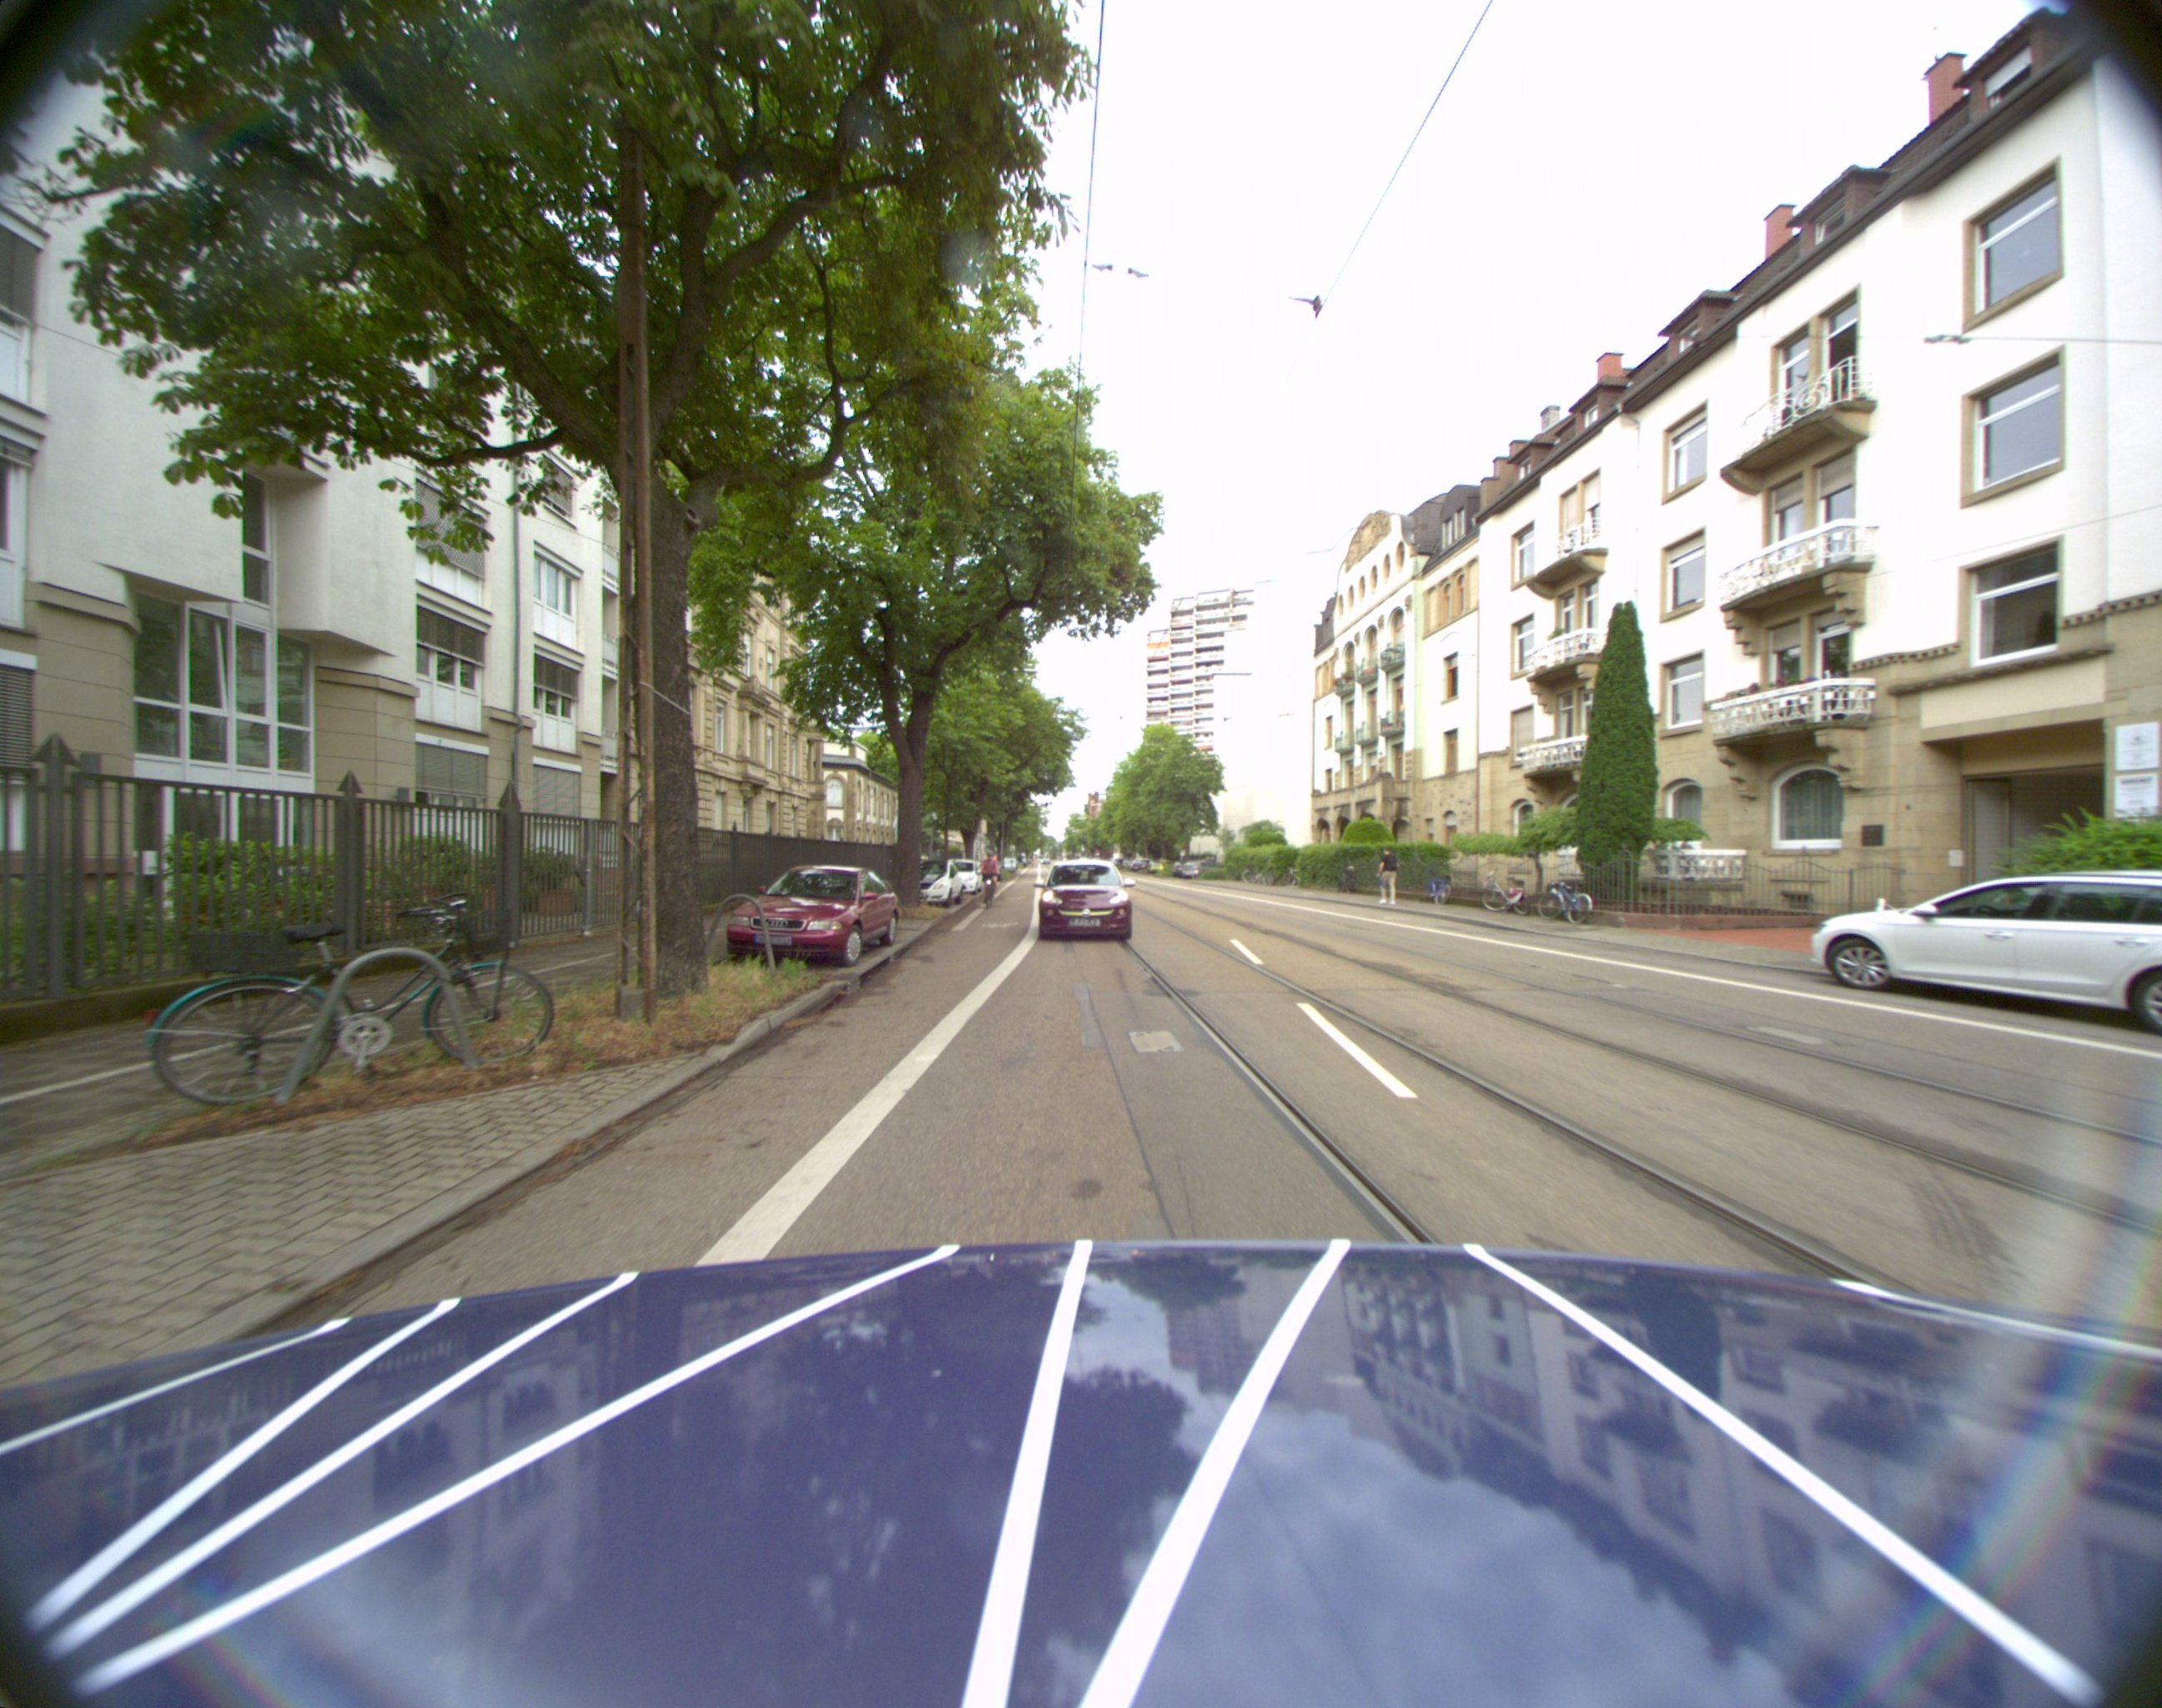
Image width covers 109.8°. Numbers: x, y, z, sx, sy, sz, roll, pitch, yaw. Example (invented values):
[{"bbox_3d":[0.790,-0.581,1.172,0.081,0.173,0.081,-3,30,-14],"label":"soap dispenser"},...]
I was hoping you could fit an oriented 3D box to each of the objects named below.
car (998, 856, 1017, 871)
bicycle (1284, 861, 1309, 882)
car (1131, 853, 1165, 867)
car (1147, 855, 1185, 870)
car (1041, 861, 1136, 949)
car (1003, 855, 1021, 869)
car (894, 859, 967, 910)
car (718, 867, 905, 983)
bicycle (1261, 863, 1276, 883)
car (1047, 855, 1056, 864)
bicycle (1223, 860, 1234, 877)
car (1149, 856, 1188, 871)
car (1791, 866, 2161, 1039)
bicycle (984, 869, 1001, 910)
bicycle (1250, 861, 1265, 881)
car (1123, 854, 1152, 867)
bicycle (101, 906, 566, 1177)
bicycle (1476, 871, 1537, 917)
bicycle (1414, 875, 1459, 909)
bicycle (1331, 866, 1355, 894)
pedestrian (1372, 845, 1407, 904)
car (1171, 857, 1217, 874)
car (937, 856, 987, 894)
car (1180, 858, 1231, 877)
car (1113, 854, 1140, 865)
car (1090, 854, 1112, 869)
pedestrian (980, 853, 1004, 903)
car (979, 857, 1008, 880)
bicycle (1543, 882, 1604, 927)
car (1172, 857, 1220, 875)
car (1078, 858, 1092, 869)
[{"bbox_3d":[-7.085,0.864,73.402,1.606,1.362,3.836,2,0,-3],"label":"car"},{"bbox_3d":[11.293,0.920,39.810,1.206,1.077,0.300,-2,1,-1],"label":"bicycle"},{"bbox_3d":[7.666,0.697,87.149,1.690,1.611,4.009,1,0,44],"label":"car"},{"bbox_3d":[8.690,0.864,77.467,1.690,1.434,4.009,1,0,44],"label":"car"},{"bbox_3d":[0.081,0.898,14.976,1.606,1.427,3.776,-1,0,-2],"label":"car"},{"bbox_3d":[-7.321,0.864,80.740,1.606,1.416,3.836,2,0,-3],"label":"car"},{"bbox_3d":[-4.680,0.907,24.089,1.606,1.427,3.776,2,0,-2],"label":"car"},{"bbox_3d":[-4.039,0.982,12.147,1.606,1.391,4.226,2,0,-3],"label":"car"},{"bbox_3d":[10.141,1.021,41.174,0.360,1.077,1.546,1,0,-3],"label":"bicycle"},{"bbox_3d":[-6.775,1.223,175.332,1.998,2.002,3.999,-1,1,0],"label":"car"},{"bbox_3d":[9.607,0.958,49.494,0.360,1.077,1.546,1,0,-3],"label":"bicycle"},{"bbox_3d":[8.615,0.902,74.411,1.690,1.387,4.009,1,0,44],"label":"car"},{"bbox_3d":[10.419,0.913,7.806,1.752,1.476,4.607,1,0,-4],"label":"car"},{"bbox_3d":[-2.798,1.107,24.106,0.414,1.197,1.706,0,0,-2],"label":"bicycle"},{"bbox_3d":[10.013,0.969,43.118,0.360,1.077,1.546,1,0,-3],"label":"bicycle"},{"bbox_3d":[7.492,0.853,100.570,1.690,1.611,4.009,1,0,44],"label":"car"},{"bbox_3d":[-4.312,0.984,4.592,0.432,1.191,1.908,1,2,43],"label":"bicycle"},{"bbox_3d":[11.133,1.028,19.938,0.386,1.095,1.623,0,0,-14],"label":"bicycle"},{"bbox_3d":[11.109,1.173,23.787,0.358,0.924,1.661,19,-1,0],"label":"bicycle"},{"bbox_3d":[10.657,1.062,30.908,0.360,1.077,1.546,1,0,-3],"label":"bicycle"},{"bbox_3d":[9.739,0.639,24.008,0.670,1.833,0.882,1,1,-4],"label":"pedestrian"},{"bbox_3d":[9.582,0.974,64.276,4.009,1.395,1.690,0,0,-42],"label":"car"},{"bbox_3d":[-5.013,0.851,32.416,1.632,1.427,3.763,2,0,-3],"label":"car"},{"bbox_3d":[9.577,1.015,58.271,4.009,1.395,1.690,0,0,-42],"label":"car"},{"bbox_3d":[6.609,0.818,110.368,1.690,1.611,4.009,1,0,44],"label":"car"},{"bbox_3d":[1.996,0.724,76.153,1.703,1.487,3.929,1,0,-5],"label":"car"},{"bbox_3d":[-2.788,0.739,23.938,0.684,1.541,0.704,0,1,-2],"label":"pedestrian"},{"bbox_3d":[-5.854,0.936,50.988,1.606,1.362,3.836,2,0,-3],"label":"car"},{"bbox_3d":[11.313,1.145,17.505,0.333,0.932,1.515,1,0,-3],"label":"bicycle"},{"bbox_3d":[9.250,0.980,61.091,4.009,1.395,1.690,0,0,-42],"label":"car"},{"bbox_3d":[0.607,1.355,106.910,1.613,1.414,3.484,1,0,-5],"label":"car"}]
